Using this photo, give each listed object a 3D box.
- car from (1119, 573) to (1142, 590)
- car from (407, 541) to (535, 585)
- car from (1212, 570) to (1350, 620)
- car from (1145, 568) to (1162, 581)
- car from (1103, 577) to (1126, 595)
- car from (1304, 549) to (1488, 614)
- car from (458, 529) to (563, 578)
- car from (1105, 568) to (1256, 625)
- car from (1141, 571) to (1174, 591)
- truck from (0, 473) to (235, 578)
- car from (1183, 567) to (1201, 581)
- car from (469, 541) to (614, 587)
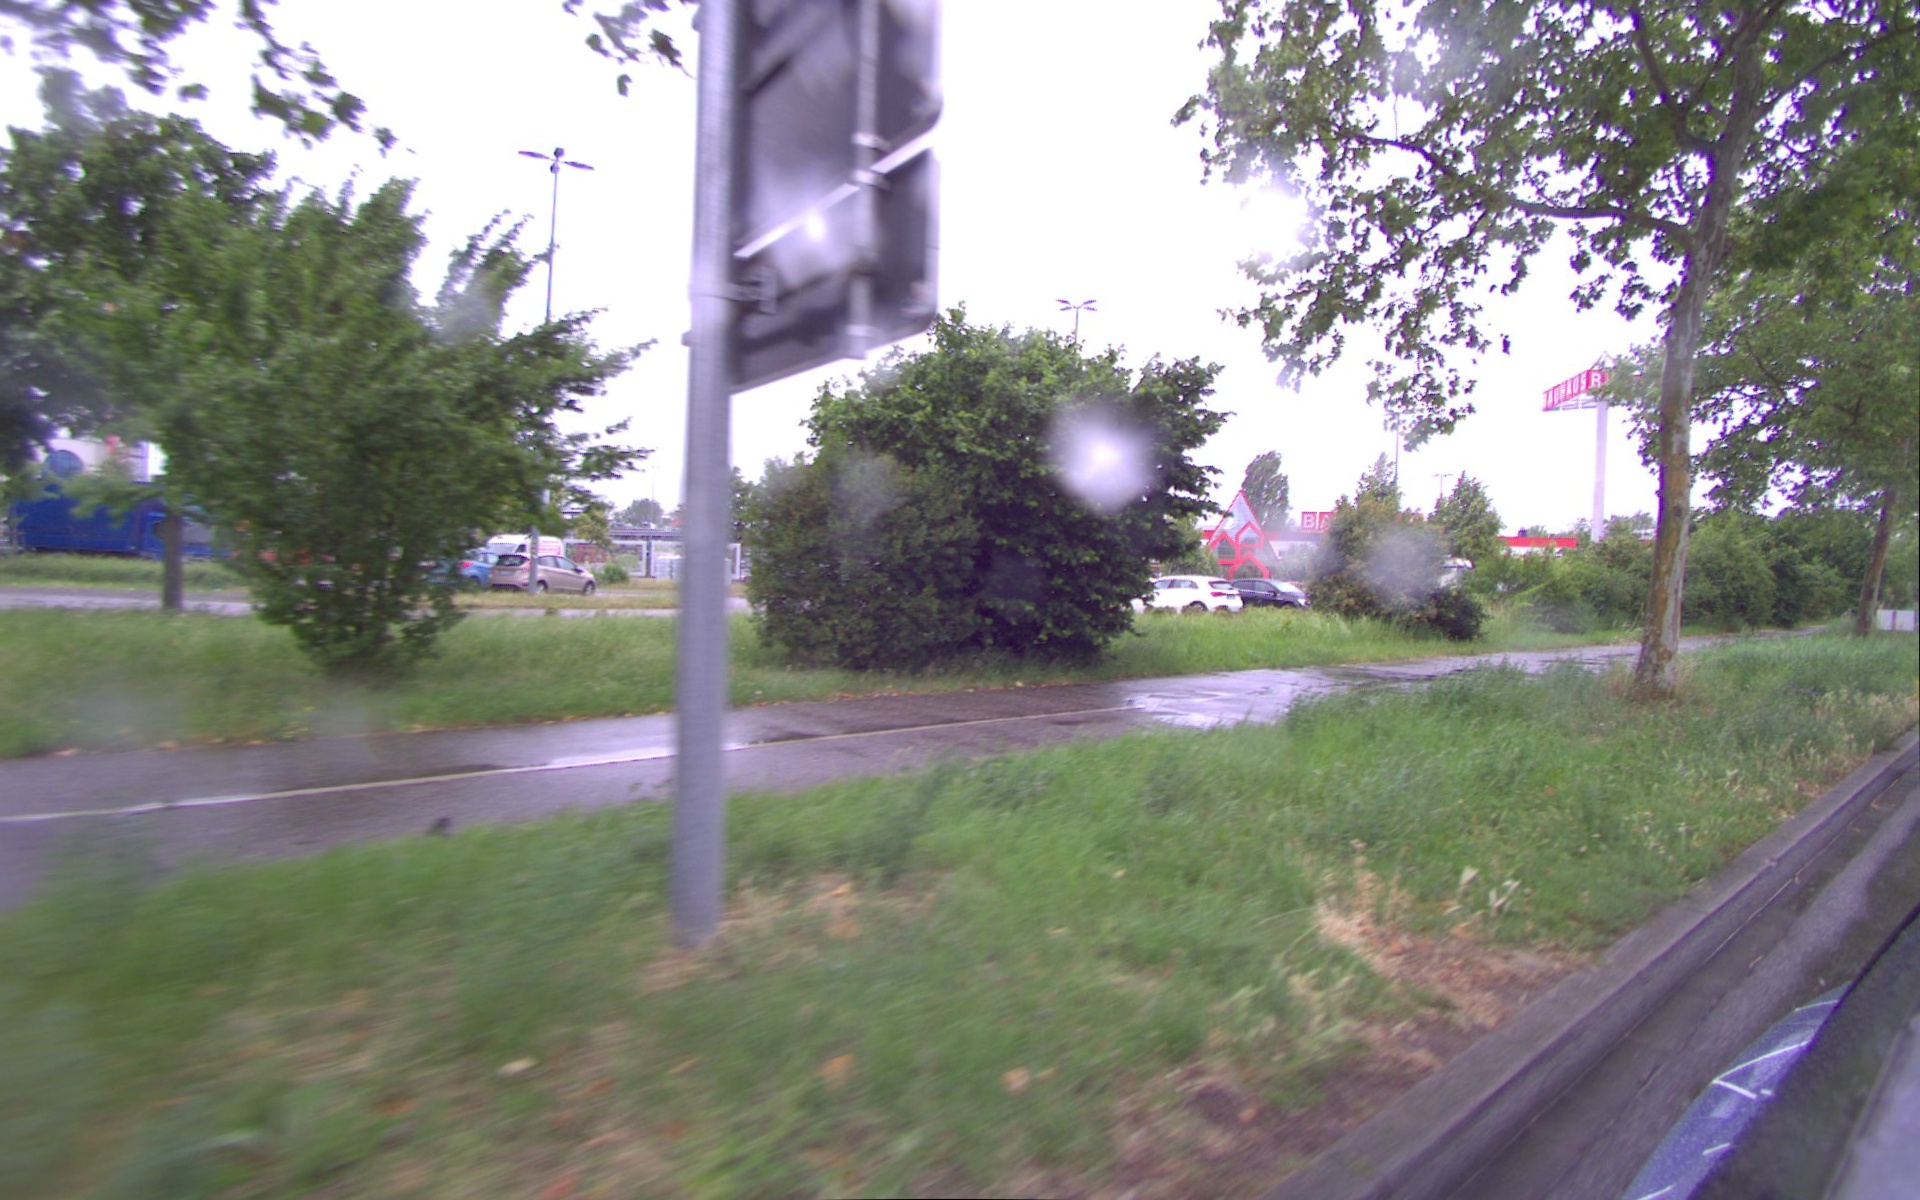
[{"bbox_3d":[20.688,-2.242,122.522,1.907,1.900,4.244,2,2,21],"label":"car"},{"bbox_3d":[-15.979,-1.213,33.332,1.838,1.308,4.041,2,2,9],"label":"car"},{"bbox_3d":[11.265,-0.232,35.704,1.899,1.571,4.262,0,3,-45],"label":"car"},{"bbox_3d":[29.955,-3.956,156.658,1.907,1.900,4.244,2,2,21],"label":"car"},{"bbox_3d":[16.142,-1.480,105.564,1.972,1.697,4.258,2,2,13],"label":"car"},{"bbox_3d":[17.498,-0.819,40.891,6.399,2.392,2.357,3,2,41],"label":"car"},{"bbox_3d":[-23.391,-2.391,52.962,2.295,2.390,5.500,2,2,11],"label":"car"},{"bbox_3d":[6.819,-0.168,31.565,1.899,1.571,4.262,0,3,-45],"label":"car"},{"bbox_3d":[15.832,-1.540,81.017,1.906,1.571,4.246,2,2,20],"label":"car"},{"bbox_3d":[-30.909,-2.704,37.064,7.899,3.513,2.542,2,0,14],"label":"truck"},{"bbox_3d":[31.257,-3.534,136.176,1.906,1.747,4.246,2,2,20],"label":"car"},{"bbox_3d":[-13.029,-1.120,31.751,1.850,1.308,4.015,3,2,25],"label":"car"}]
